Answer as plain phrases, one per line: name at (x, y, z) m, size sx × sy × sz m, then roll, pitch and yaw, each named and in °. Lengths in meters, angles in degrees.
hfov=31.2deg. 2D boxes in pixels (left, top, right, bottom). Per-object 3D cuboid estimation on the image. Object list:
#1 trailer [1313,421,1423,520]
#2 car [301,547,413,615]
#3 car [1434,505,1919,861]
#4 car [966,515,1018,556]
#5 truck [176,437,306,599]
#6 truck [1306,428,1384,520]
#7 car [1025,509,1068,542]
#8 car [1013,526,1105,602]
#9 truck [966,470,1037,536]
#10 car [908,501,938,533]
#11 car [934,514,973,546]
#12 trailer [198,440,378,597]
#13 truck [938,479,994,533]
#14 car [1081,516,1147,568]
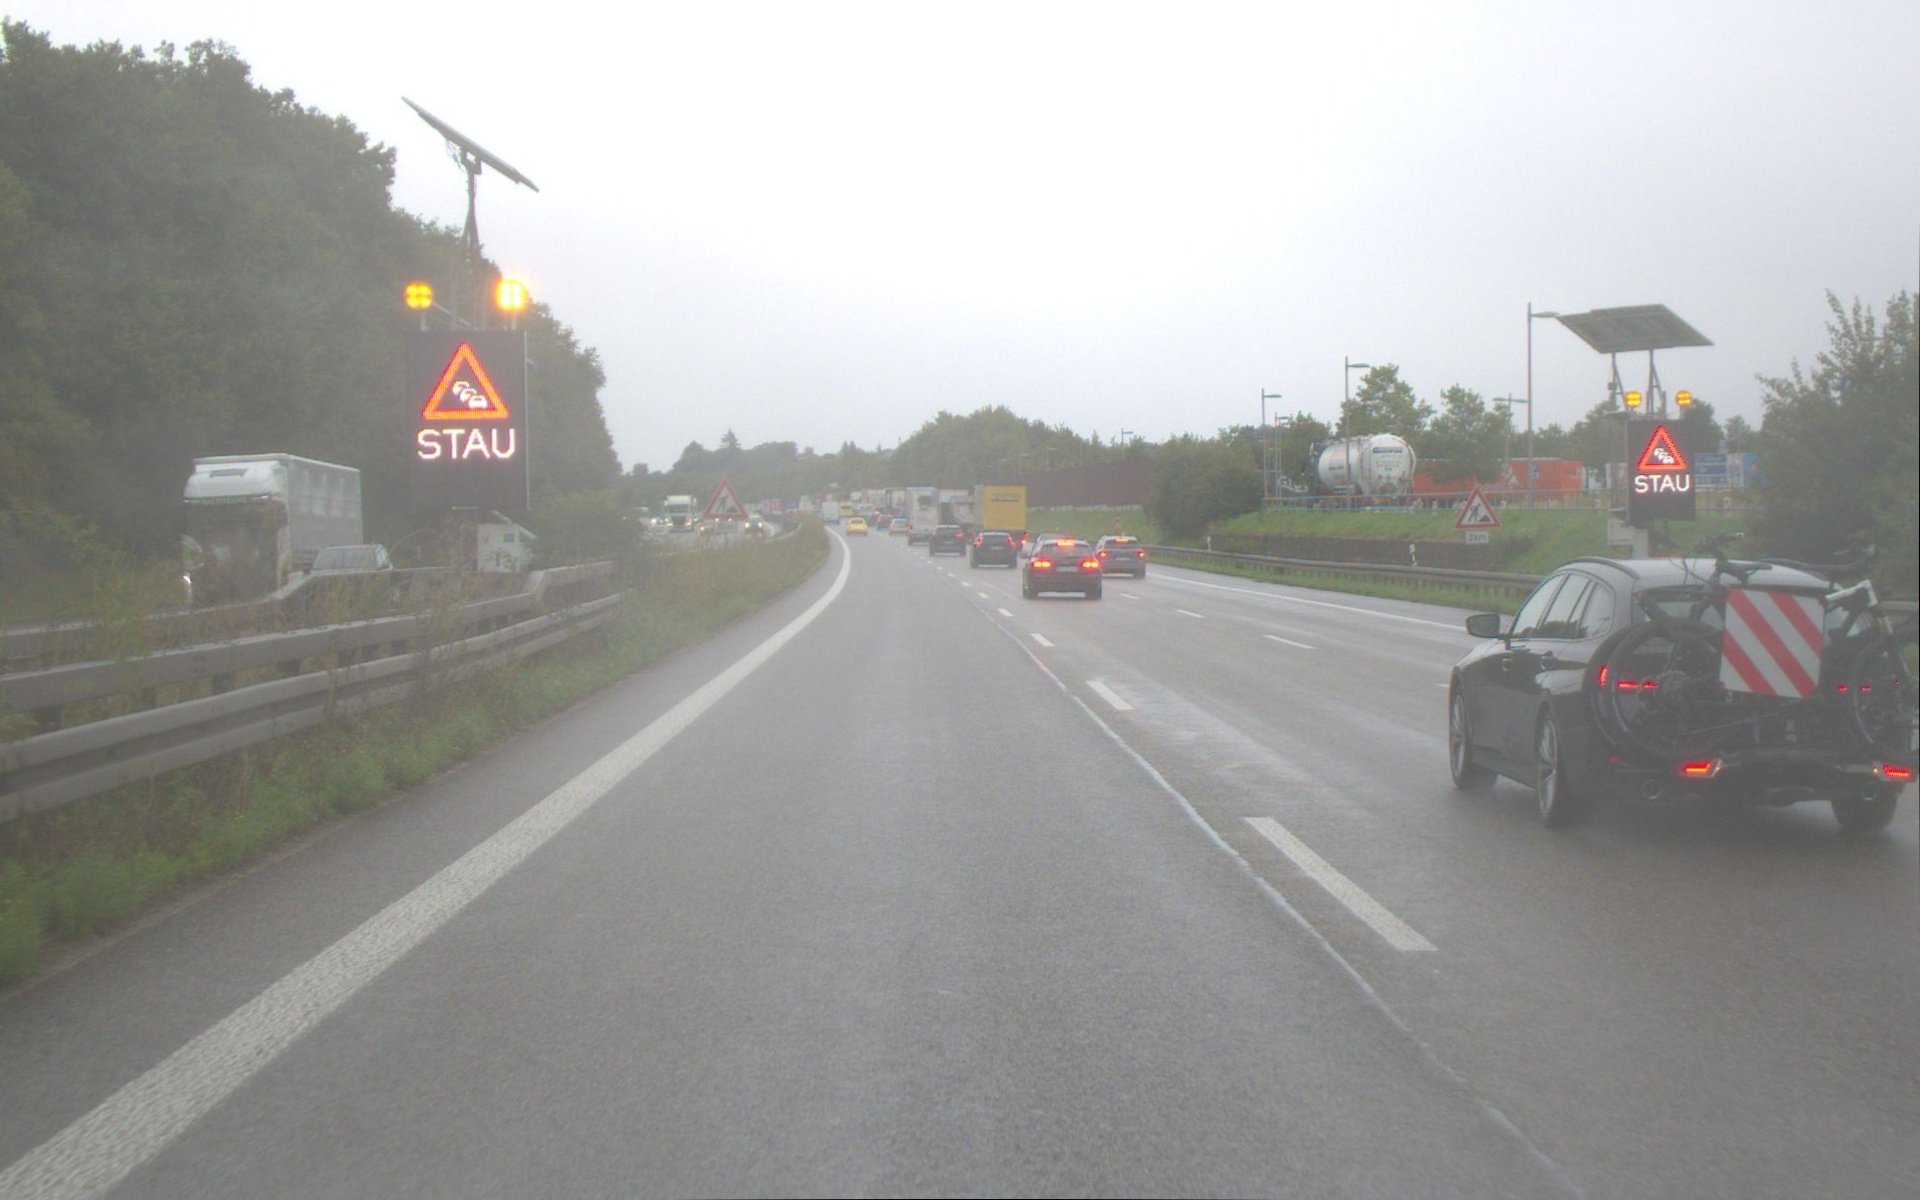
trailer at (17.928, -5.634, 151.984) m, size 2.985 × 4.142 × 12.958 m, roll -1°, pitch 1°, yaw -1°
car at (-14.314, -0.476, 81.760) m, size 1.874 × 1.488 × 4.514 m, roll -2°, pitch 1°, yaw -1°
car at (4.081, 0.378, 19.028) m, size 2.057 × 1.665 × 5.522 m, roll 1°, pitch 0°, yaw -1°
car at (1.313, -2.650, 141.311) m, size 1.993 × 1.623 × 4.000 m, roll -1°, pitch 1°, yaw -1°
truck at (-19.308, -2.212, 92.533) m, size 2.643 × 4.222 × 4.000 m, roll -1°, pitch 1°, yaw -1°
truck at (17.792, -5.775, 159.014) m, size 2.949 × 4.131 × 4.922 m, roll -1°, pitch 1°, yaw -1°
car at (4.339, -3.738, 172.977) m, size 1.993 × 1.623 × 4.000 m, roll -1°, pitch 1°, yaw -1°
car at (2.368, -0.889, 83.265) m, size 1.993 × 1.755 × 4.000 m, roll -1°, pitch 1°, yaw -1°
truck at (2.517, -6.008, 214.024) m, size 3.924 × 3.967 × 12.241 m, roll -1°, pitch 1°, yaw -1°
car at (-2.571, -5.712, 236.415) m, size 1.993 × 2.197 × 4.000 m, roll -1°, pitch 1°, yaw -1°
car at (-0.347, -3.724, 182.336) m, size 1.993 × 1.623 × 4.000 m, roll -1°, pitch 1°, yaw -1°
trailer at (-19.418, -2.385, 100.274) m, size 2.643 × 4.222 × 13.912 m, roll -1°, pitch 1°, yaw -1°
truck at (0.389, -7.084, 260.446) m, size 3.924 × 3.967 × 12.241 m, roll -1°, pitch 1°, yaw -1°
car at (5.333, -2.030, 119.535) m, size 1.993 × 1.755 × 4.000 m, roll -1°, pitch 1°, yaw -1°
